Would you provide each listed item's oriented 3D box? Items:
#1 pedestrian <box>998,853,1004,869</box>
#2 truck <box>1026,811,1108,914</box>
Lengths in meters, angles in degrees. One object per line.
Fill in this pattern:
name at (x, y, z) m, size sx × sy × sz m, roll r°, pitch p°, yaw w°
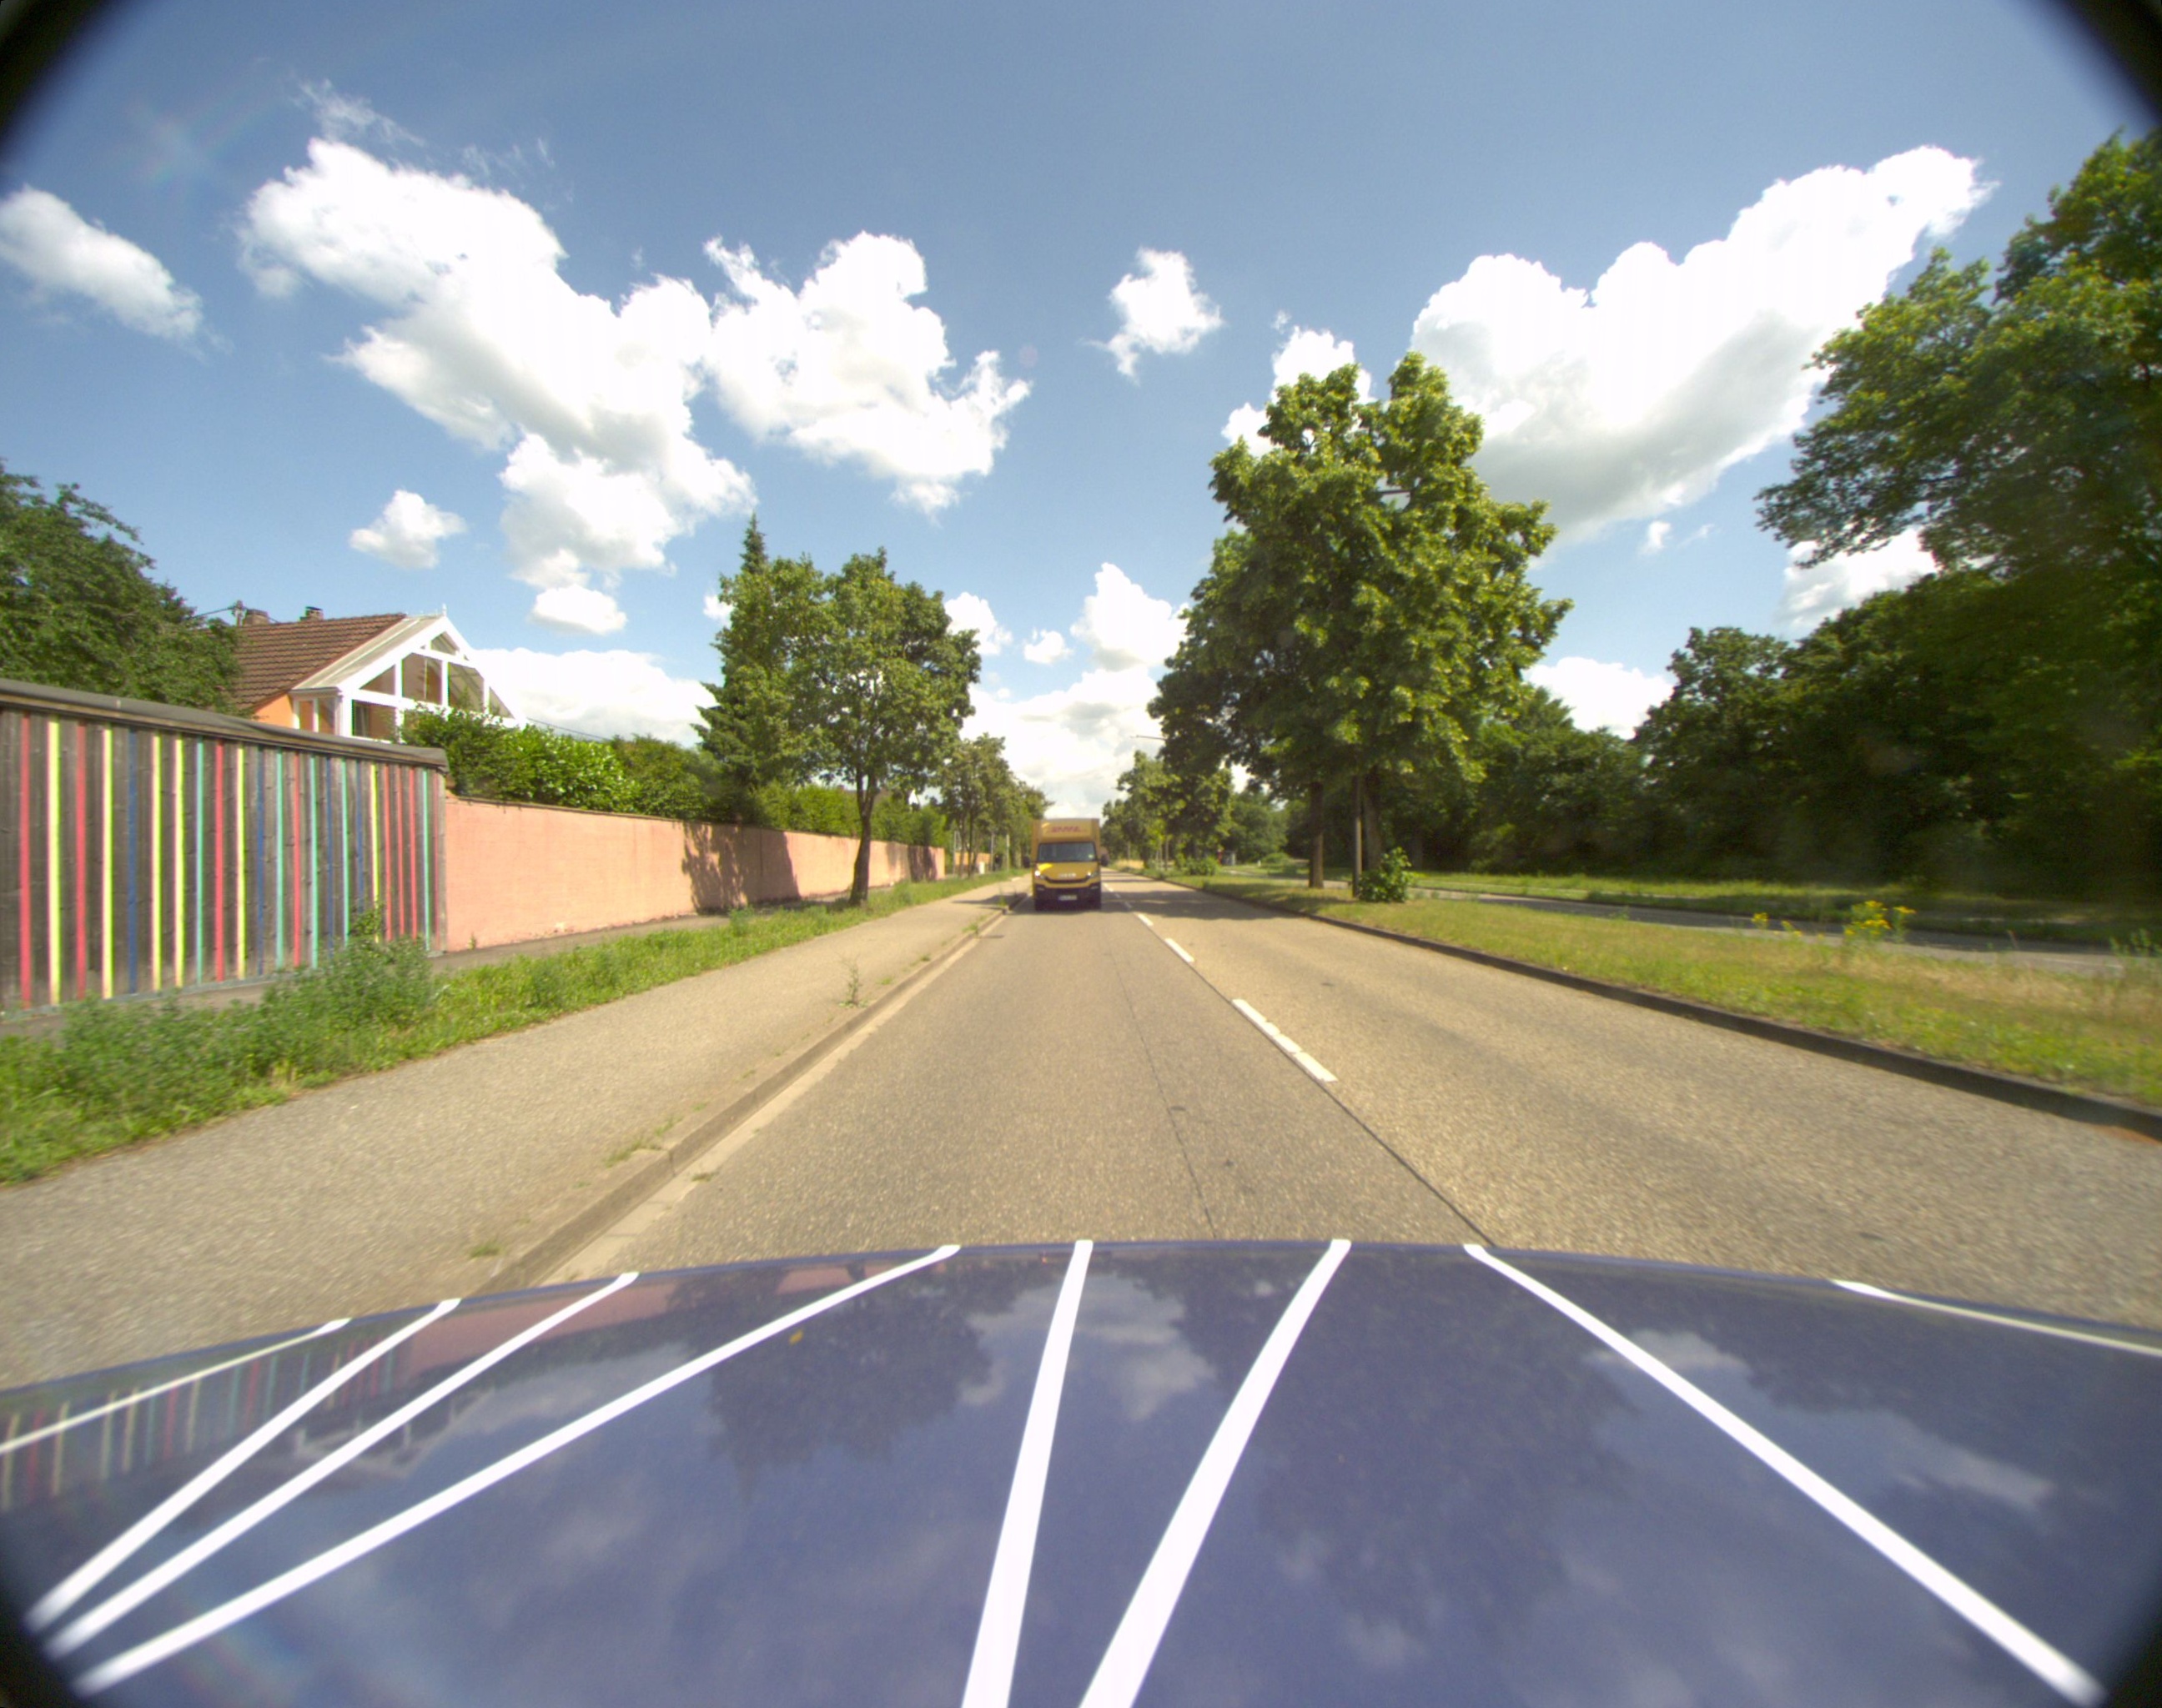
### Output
pedestrian at (-8.459, 0.762, 79.932) m, size 0.561 × 1.667 × 0.634 m, roll -1°, pitch 0°, yaw -1°
truck at (-0.432, 0.237, 25.667) m, size 2.270 × 2.864 × 8.027 m, roll -2°, pitch 0°, yaw -1°
